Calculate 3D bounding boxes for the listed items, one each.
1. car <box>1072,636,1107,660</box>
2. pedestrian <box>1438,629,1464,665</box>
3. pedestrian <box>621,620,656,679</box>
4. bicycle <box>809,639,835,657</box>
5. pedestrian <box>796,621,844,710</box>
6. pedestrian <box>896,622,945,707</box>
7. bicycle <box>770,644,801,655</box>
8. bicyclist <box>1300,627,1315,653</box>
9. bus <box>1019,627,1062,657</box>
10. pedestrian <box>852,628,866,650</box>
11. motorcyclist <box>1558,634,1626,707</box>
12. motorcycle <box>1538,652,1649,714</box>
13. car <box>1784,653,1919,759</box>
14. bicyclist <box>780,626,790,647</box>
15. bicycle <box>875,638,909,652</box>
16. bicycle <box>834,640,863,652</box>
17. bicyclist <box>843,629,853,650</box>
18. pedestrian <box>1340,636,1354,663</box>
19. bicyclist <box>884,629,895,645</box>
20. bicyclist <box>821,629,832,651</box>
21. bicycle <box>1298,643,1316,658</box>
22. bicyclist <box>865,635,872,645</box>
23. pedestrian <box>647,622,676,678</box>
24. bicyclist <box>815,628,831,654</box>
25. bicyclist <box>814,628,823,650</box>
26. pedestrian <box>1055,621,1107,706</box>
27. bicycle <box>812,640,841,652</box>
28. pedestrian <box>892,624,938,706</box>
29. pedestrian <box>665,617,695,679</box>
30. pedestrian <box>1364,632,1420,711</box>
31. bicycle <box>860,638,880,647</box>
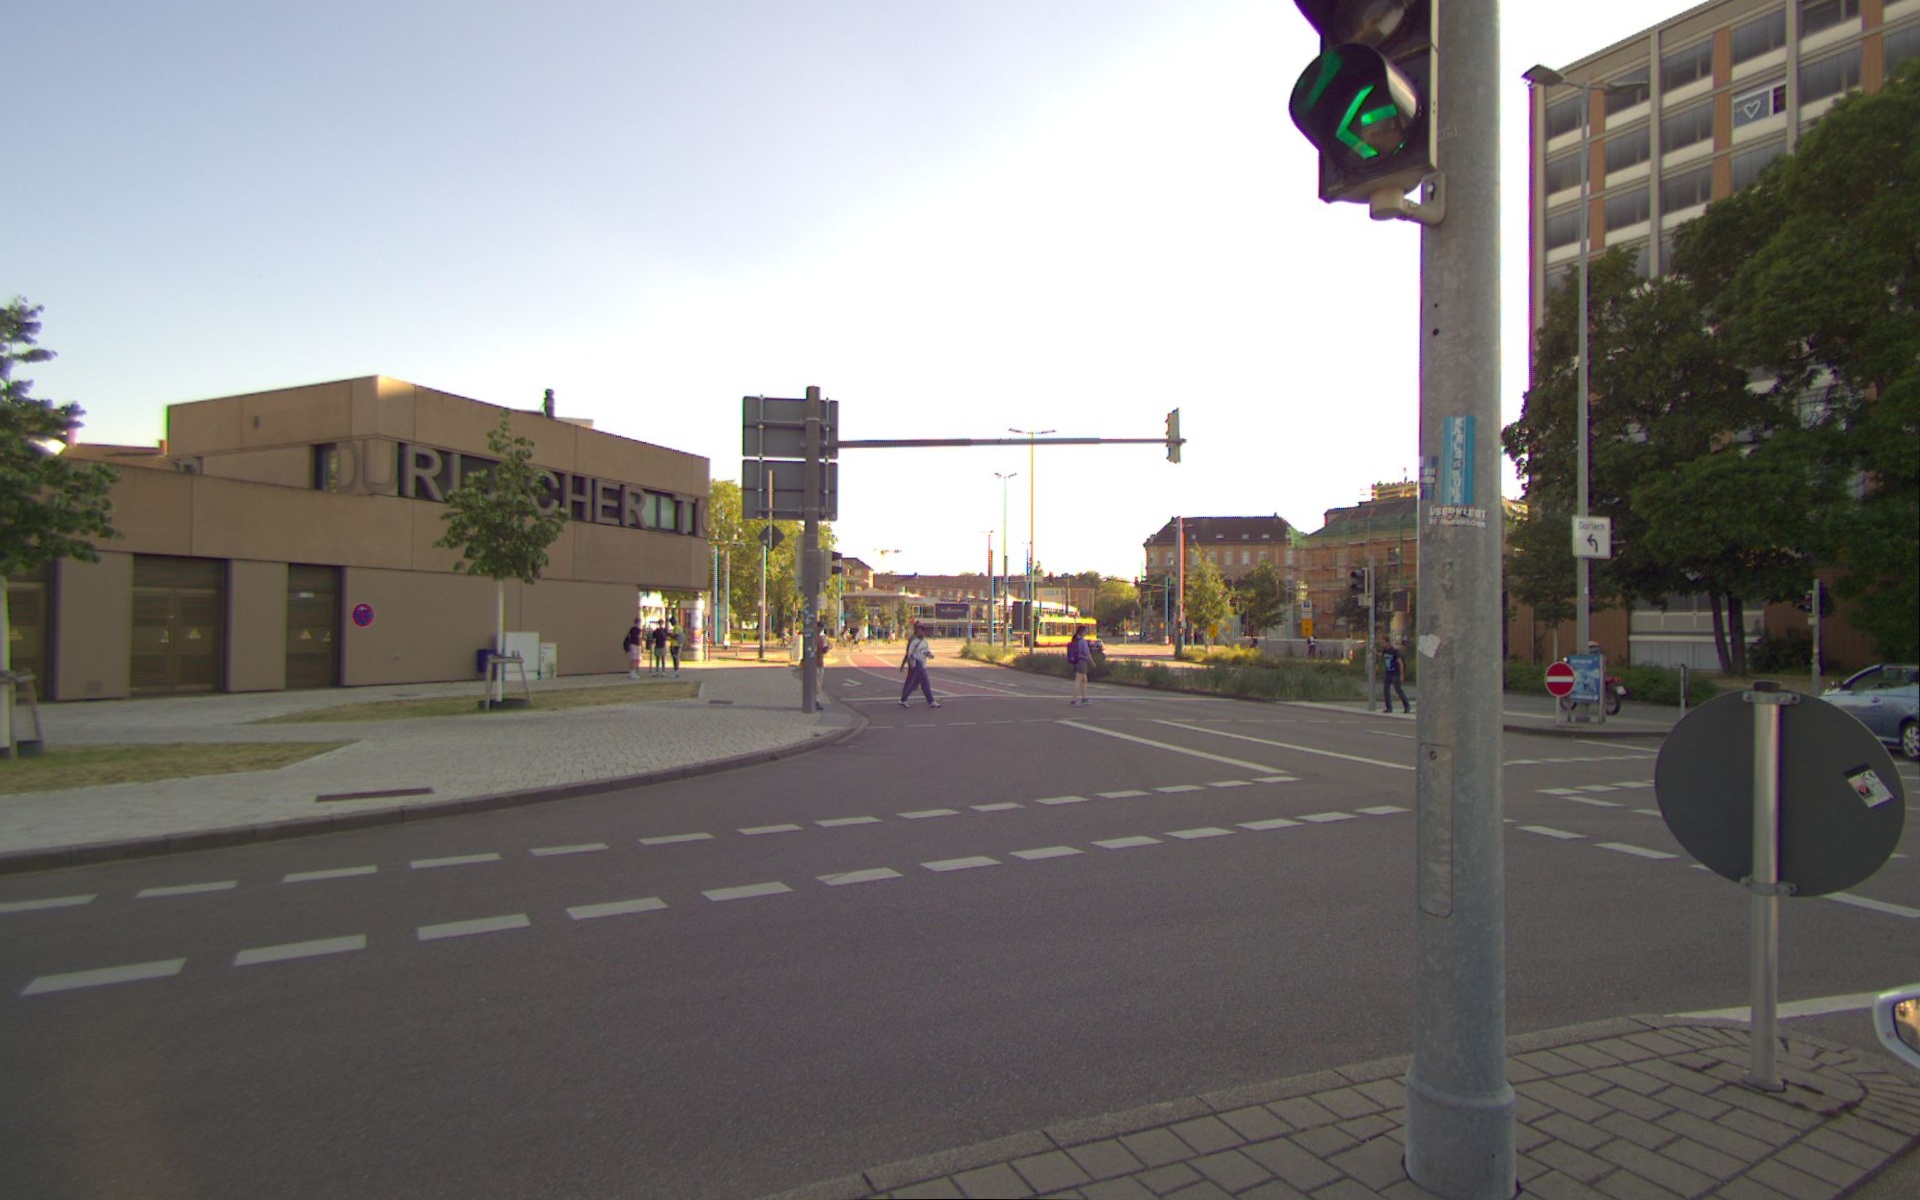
[{"bbox_3d":[8.838,3.269,68.930,1.771,1.463,3.978,2,-2,-1],"label":"car"},{"bbox_3d":[23.573,2.244,48.278,0.794,1.680,0.789,2,-1,-11],"label":"pedestrian"},{"bbox_3d":[-9.764,1.487,30.485,0.722,1.754,0.664,2,0,23],"label":"pedestrian"},{"bbox_3d":[-9.950,3.440,72.523,0.735,1.271,2.531,2,-3,-36],"label":"bicycle"},{"bbox_3d":[-2.850,1.322,20.403,0.911,1.764,0.786,1,-2,-12],"label":"pedestrian"},{"bbox_3d":[-0.840,1.354,21.302,0.911,1.764,0.755,1,-2,-12],"label":"pedestrian"},{"bbox_3d":[-14.636,4.140,84.347,2.459,0.886,0.857,2,0,-15],"label":"bicycle"},{"bbox_3d":[24.692,2.840,71.463,0.773,1.809,0.894,-1,-2,7],"label":"bicyclist"},{"bbox_3d":[9.006,4.613,111.362,2.315,2.921,9.578,2,0,20],"label":"bus"},{"bbox_3d":[-7.890,3.003,78.115,0.822,1.693,0.690,2,-2,-41],"label":"pedestrian"},{"bbox_3d":[15.622,1.728,24.843,1.078,1.743,0.937,2,-2,0],"label":"motorcyclist"},{"bbox_3d":[15.612,2.008,24.863,1.078,1.395,2.654,2,-2,0],"label":"motorcycle"},{"bbox_3d":[14.905,1.616,15.634,1.770,1.463,3.980,2,-2,16],"label":"car"},{"bbox_3d":[-14.664,3.043,84.313,0.735,1.713,0.858,2,0,-14],"label":"bicyclist"},{"bbox_3d":[-8.384,5.521,123.306,3.939,1.712,1.134,2,0,-20],"label":"bicycle"},{"bbox_3d":[-9.446,3.899,85.068,2.266,0.918,0.857,2,0,-17],"label":"bicycle"},{"bbox_3d":[-9.461,3.318,85.062,0.641,1.713,0.857,2,0,-16],"label":"bicyclist"},{"bbox_3d":[24.048,3.075,62.375,0.711,1.680,0.718,3,-1,18],"label":"pedestrian"},{"bbox_3d":[-8.605,4.580,123.218,1.057,1.926,1.118,2,0,-19],"label":"bicyclist"},{"bbox_3d":[-11.047,3.309,83.166,0.641,1.713,0.856,2,0,-20],"label":"bicyclist"},{"bbox_3d":[24.716,3.608,71.485,0.776,1.052,1.964,-1,-3,7],"label":"bicycle"},{"bbox_3d":[-10.969,4.796,119.813,0.703,1.158,0.835,1,1,-14],"label":"bicyclist"},{"bbox_3d":[-9.349,1.557,31.478,0.626,1.711,0.550,2,0,11],"label":"pedestrian"},{"bbox_3d":[-9.907,2.950,72.520,0.735,1.856,1.003,2,-3,-36],"label":"bicyclist"},{"bbox_3d":[-11.670,3.235,82.907,0.576,1.801,0.863,1,-2,-20],"label":"bicyclist"},{"bbox_3d":[2.588,1.345,21.507,0.911,1.764,0.755,1,-2,-12],"label":"pedestrian"},{"bbox_3d":[-11.065,3.811,83.164,2.269,0.918,0.856,2,0,-21],"label":"bicycle"},{"bbox_3d":[-1.002,1.421,22.194,0.911,1.764,0.755,1,-2,-12],"label":"pedestrian"},{"bbox_3d":[-8.612,1.459,30.900,0.704,1.860,0.639,2,0,-1],"label":"pedestrian"},{"bbox_3d":[9.536,1.565,22.186,0.884,1.707,0.746,1,-1,-12],"label":"pedestrian"},{"bbox_3d":[-10.720,5.028,119.869,2.264,0.972,0.857,0,1,-14],"label":"bicycle"}]
